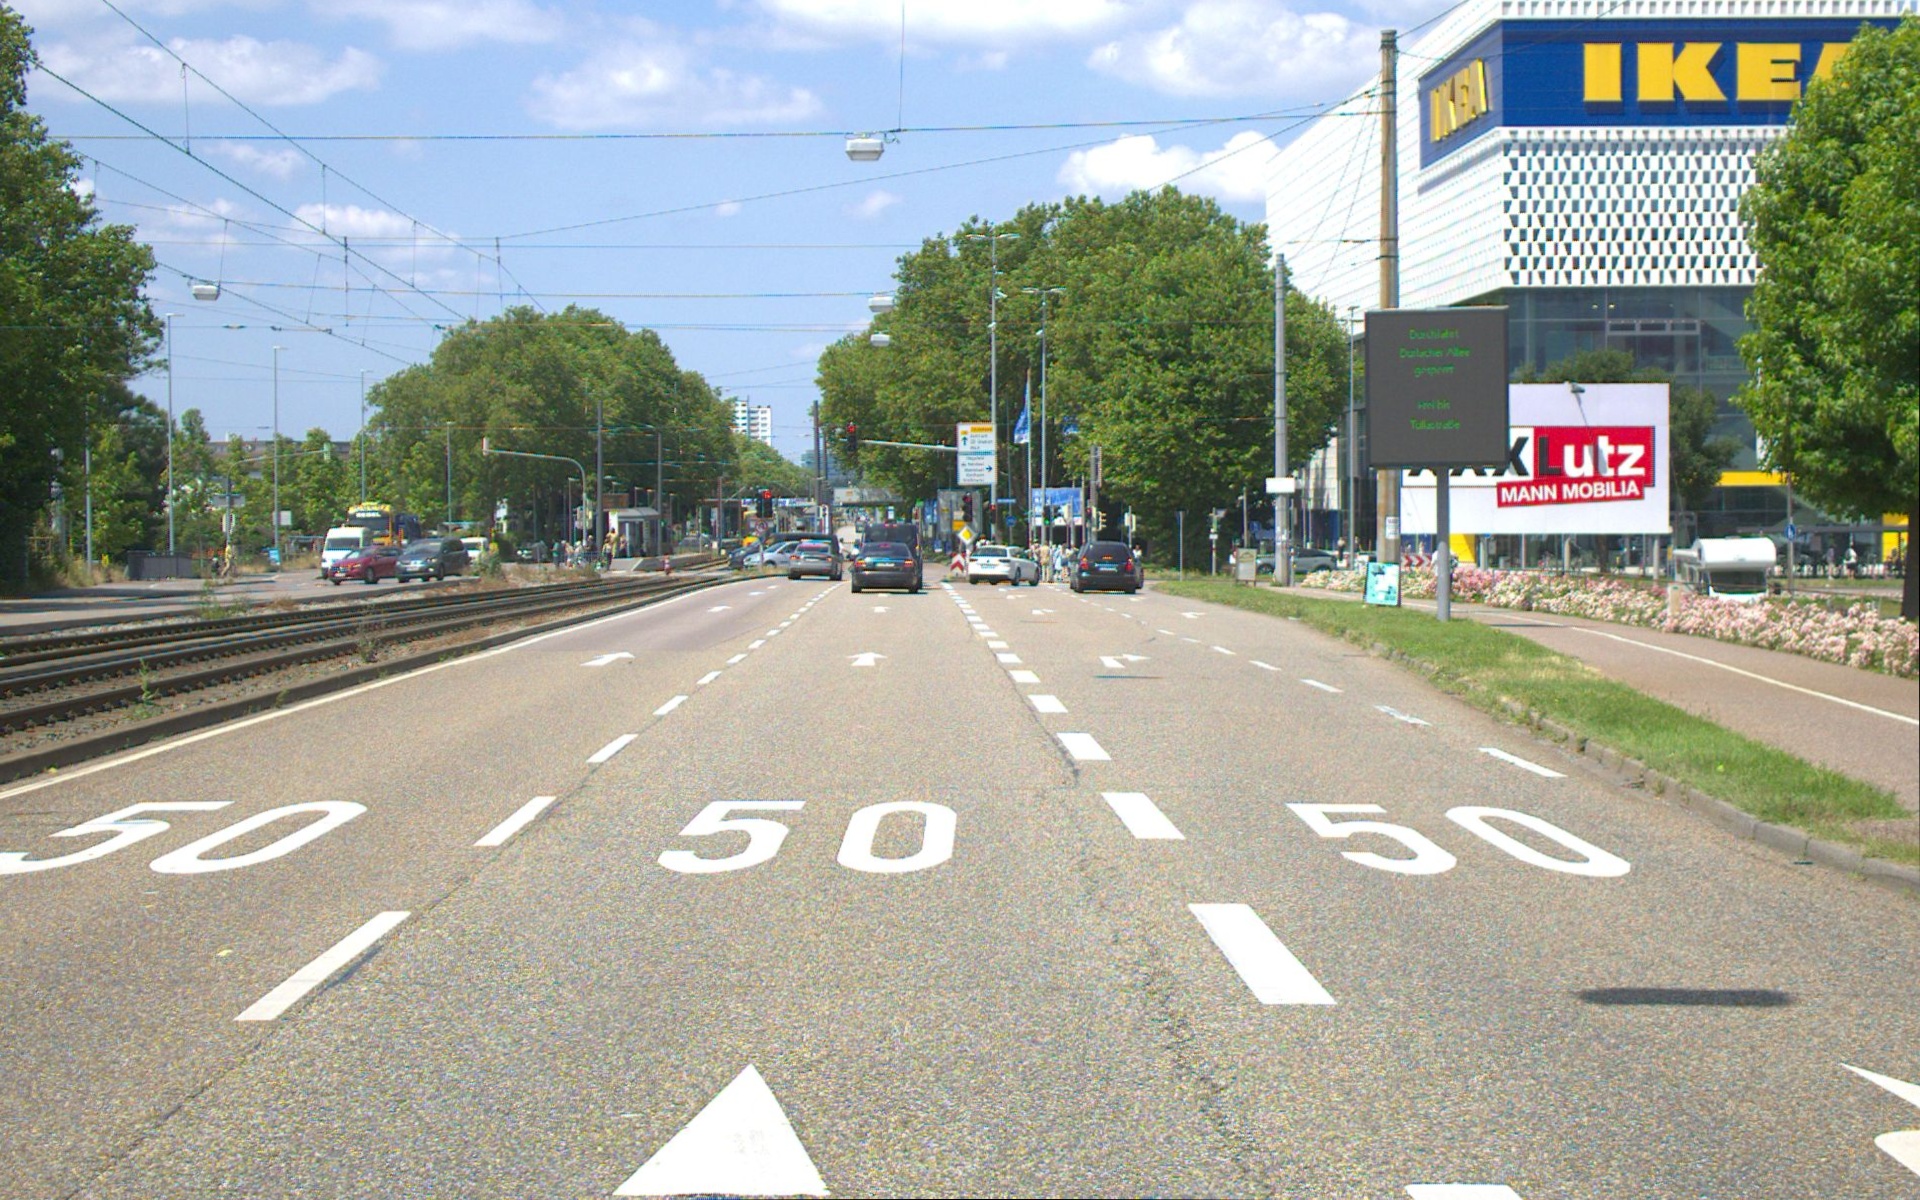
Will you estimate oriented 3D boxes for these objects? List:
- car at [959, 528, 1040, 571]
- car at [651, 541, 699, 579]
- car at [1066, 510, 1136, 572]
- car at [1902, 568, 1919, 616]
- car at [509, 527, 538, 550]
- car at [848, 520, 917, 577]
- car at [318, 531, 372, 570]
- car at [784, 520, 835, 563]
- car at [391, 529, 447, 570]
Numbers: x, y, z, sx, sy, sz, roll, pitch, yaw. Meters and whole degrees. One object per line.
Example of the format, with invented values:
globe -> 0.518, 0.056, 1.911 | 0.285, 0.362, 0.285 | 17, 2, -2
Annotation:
car -> 1.488, -1.866, 127.746 | 1.687, 1.544, 3.979 | 2, 1, 21
car -> -12.096, -1.706, 146.118 | 1.842, 1.544, 3.777 | 1, 1, -3
car -> 4.238, -1.797, 103.832 | 1.899, 1.799, 3.977 | 1, 1, -1
car -> 31.954, -0.217, 110.914 | 1.738, 1.535, 4.001 | 1, 1, -4
car -> -30.496, -4.291, 240.186 | 1.623, 1.544, 3.704 | 1, 1, -2
car -> -2.179, -1.446, 96.115 | 1.876, 1.534, 3.777 | 1, 1, -2
car -> -25.763, -2.083, 144.091 | 1.623, 1.544, 3.984 | 1, 1, -1
car -> -5.646, -2.199, 129.192 | 1.842, 1.544, 3.777 | 1, 1, -3
car -> -21.375, -2.013, 135.928 | 1.623, 1.544, 3.984 | 1, 1, -1
